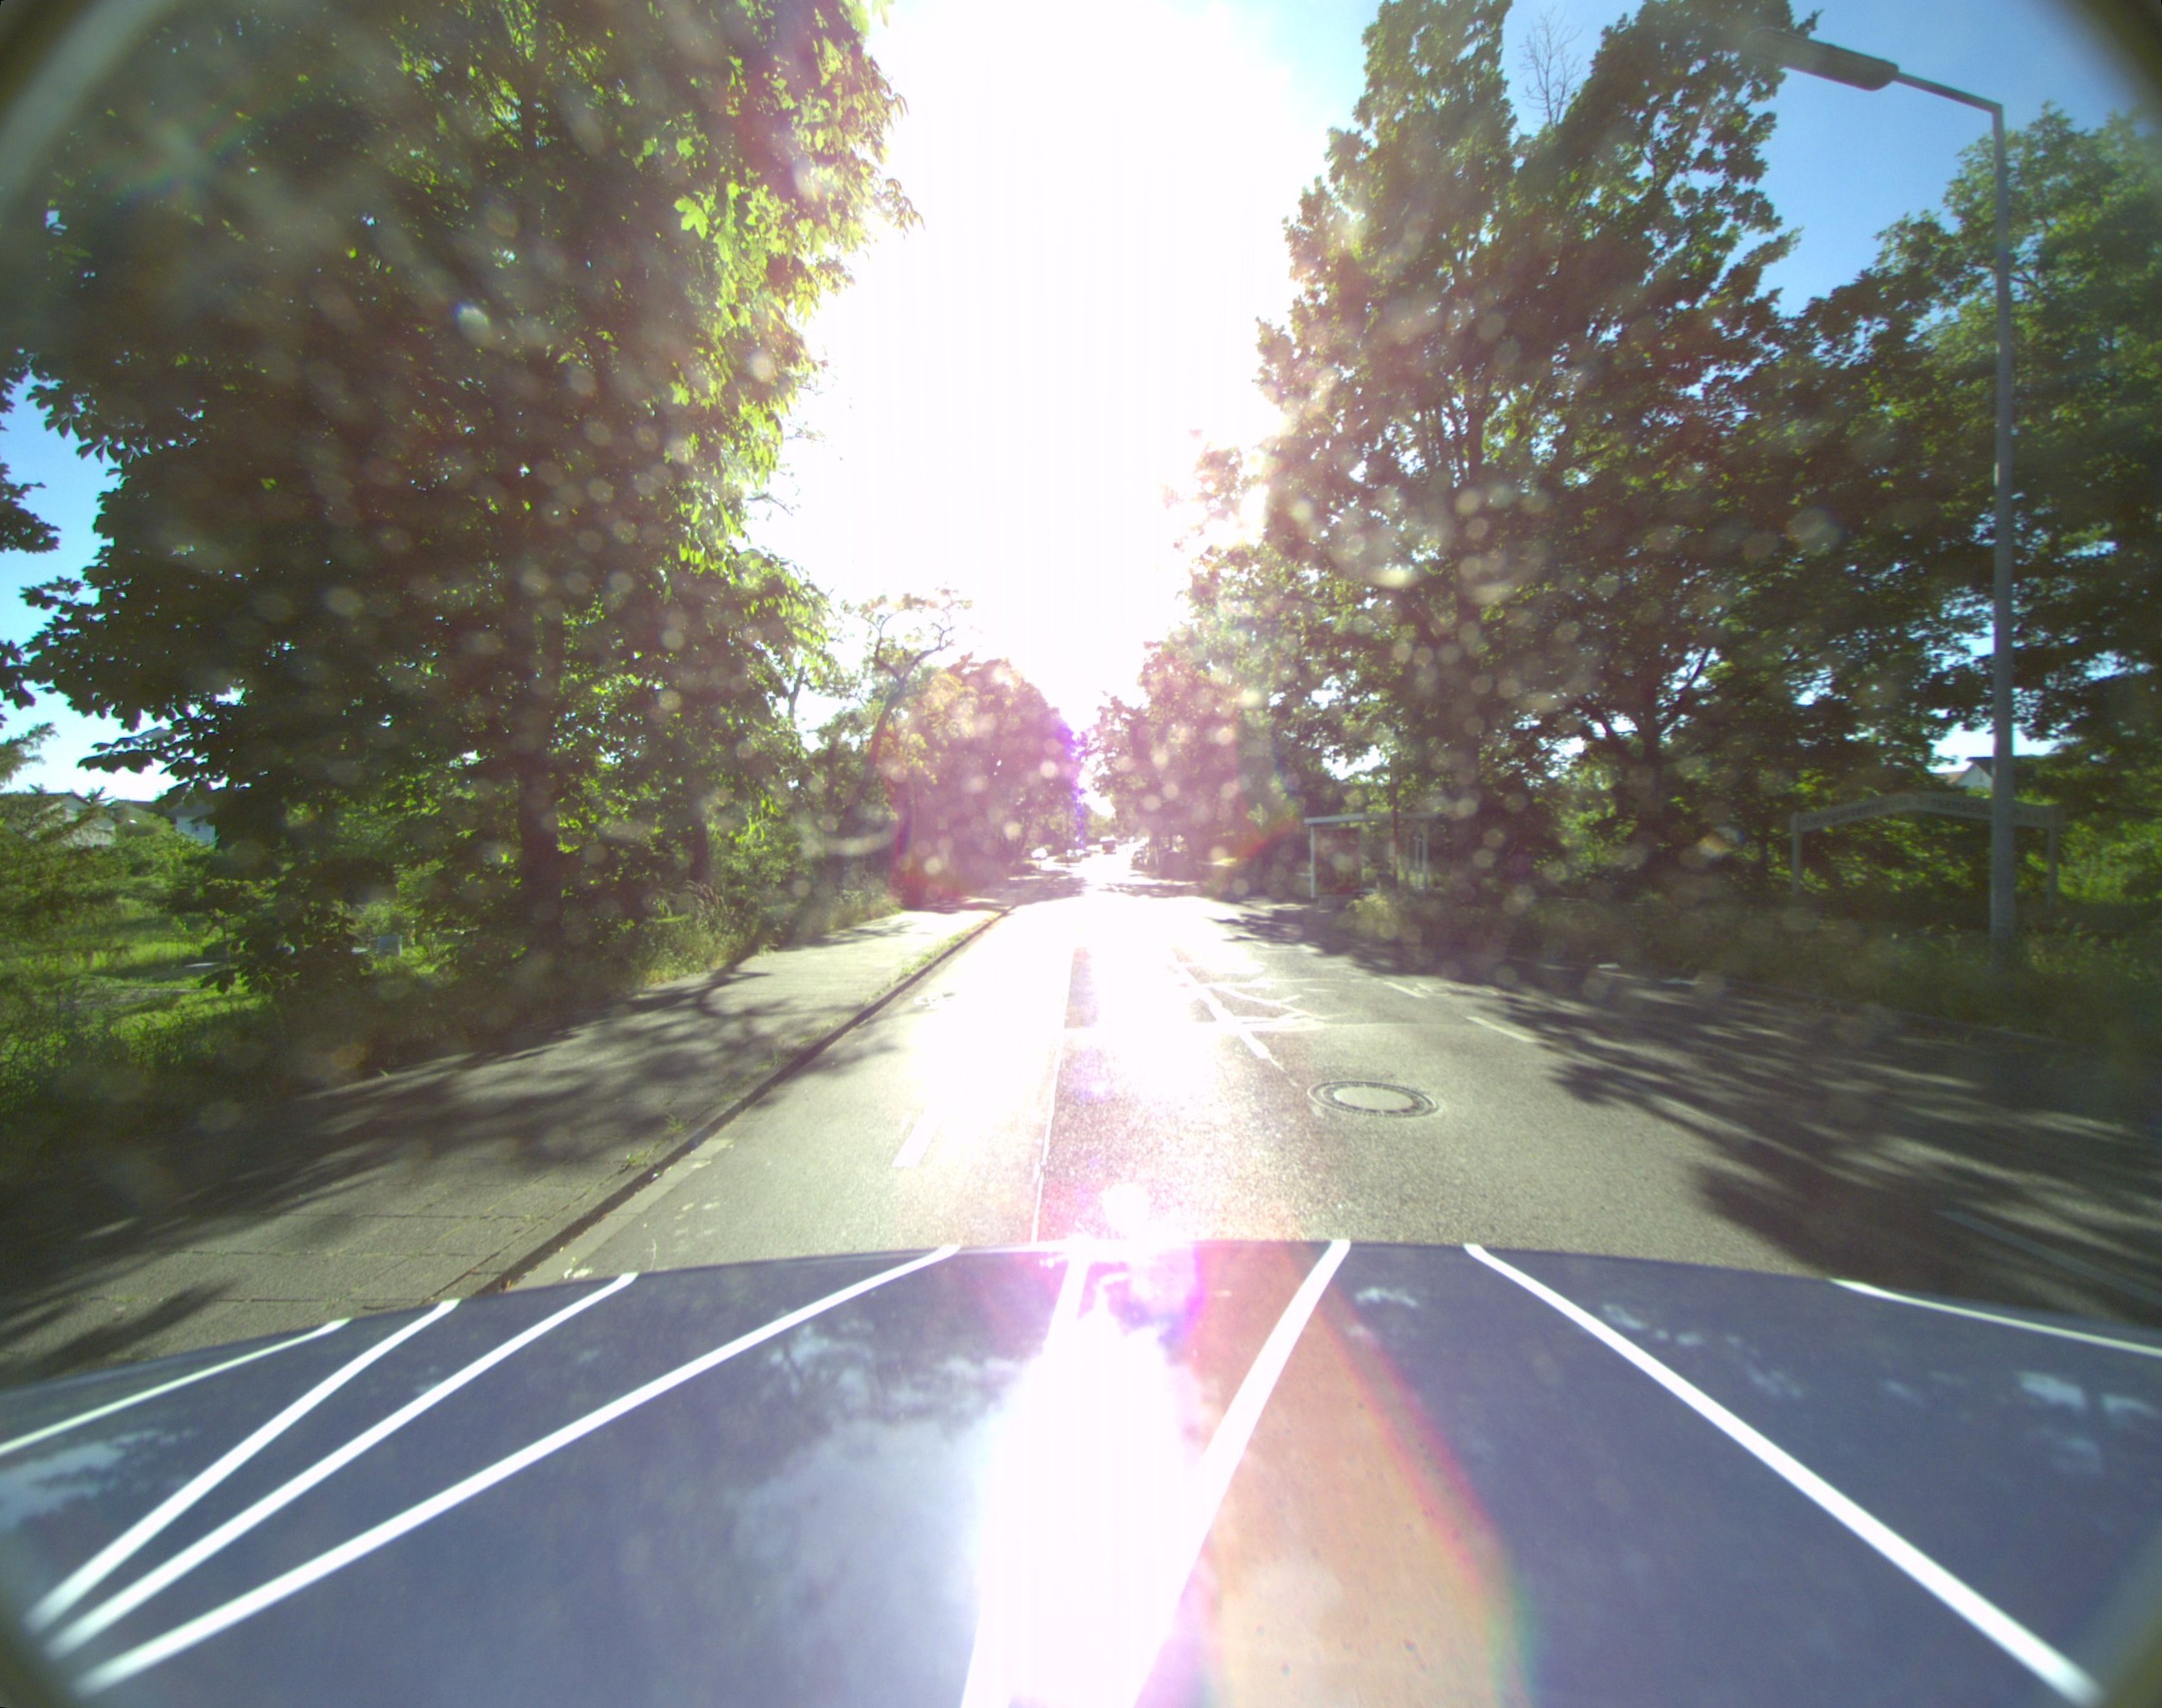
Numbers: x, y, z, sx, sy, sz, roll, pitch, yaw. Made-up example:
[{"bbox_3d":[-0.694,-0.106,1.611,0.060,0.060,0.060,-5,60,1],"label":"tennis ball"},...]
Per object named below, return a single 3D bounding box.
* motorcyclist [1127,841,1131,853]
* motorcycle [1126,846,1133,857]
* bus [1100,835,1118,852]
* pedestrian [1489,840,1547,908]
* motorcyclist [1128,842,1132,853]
[{"bbox_3d":[7.701,-1.108,121.309,0.537,2.002,0.826,-3,2,-2],"label":"motorcyclist"},{"bbox_3d":[7.724,-0.377,121.301,0.815,1.668,2.411,-3,1,-2],"label":"motorcycle"},{"bbox_3d":[5.343,-2.033,146.105,2.790,2.965,12.893,-2,0,-1],"label":"bus"},{"bbox_3d":[11.184,0.504,19.470,0.915,1.678,0.891,-2,0,2],"label":"pedestrian"},{"bbox_3d":[8.553,-1.157,132.444,0.640,2.002,0.739,-3,2,-2],"label":"motorcyclist"}]
